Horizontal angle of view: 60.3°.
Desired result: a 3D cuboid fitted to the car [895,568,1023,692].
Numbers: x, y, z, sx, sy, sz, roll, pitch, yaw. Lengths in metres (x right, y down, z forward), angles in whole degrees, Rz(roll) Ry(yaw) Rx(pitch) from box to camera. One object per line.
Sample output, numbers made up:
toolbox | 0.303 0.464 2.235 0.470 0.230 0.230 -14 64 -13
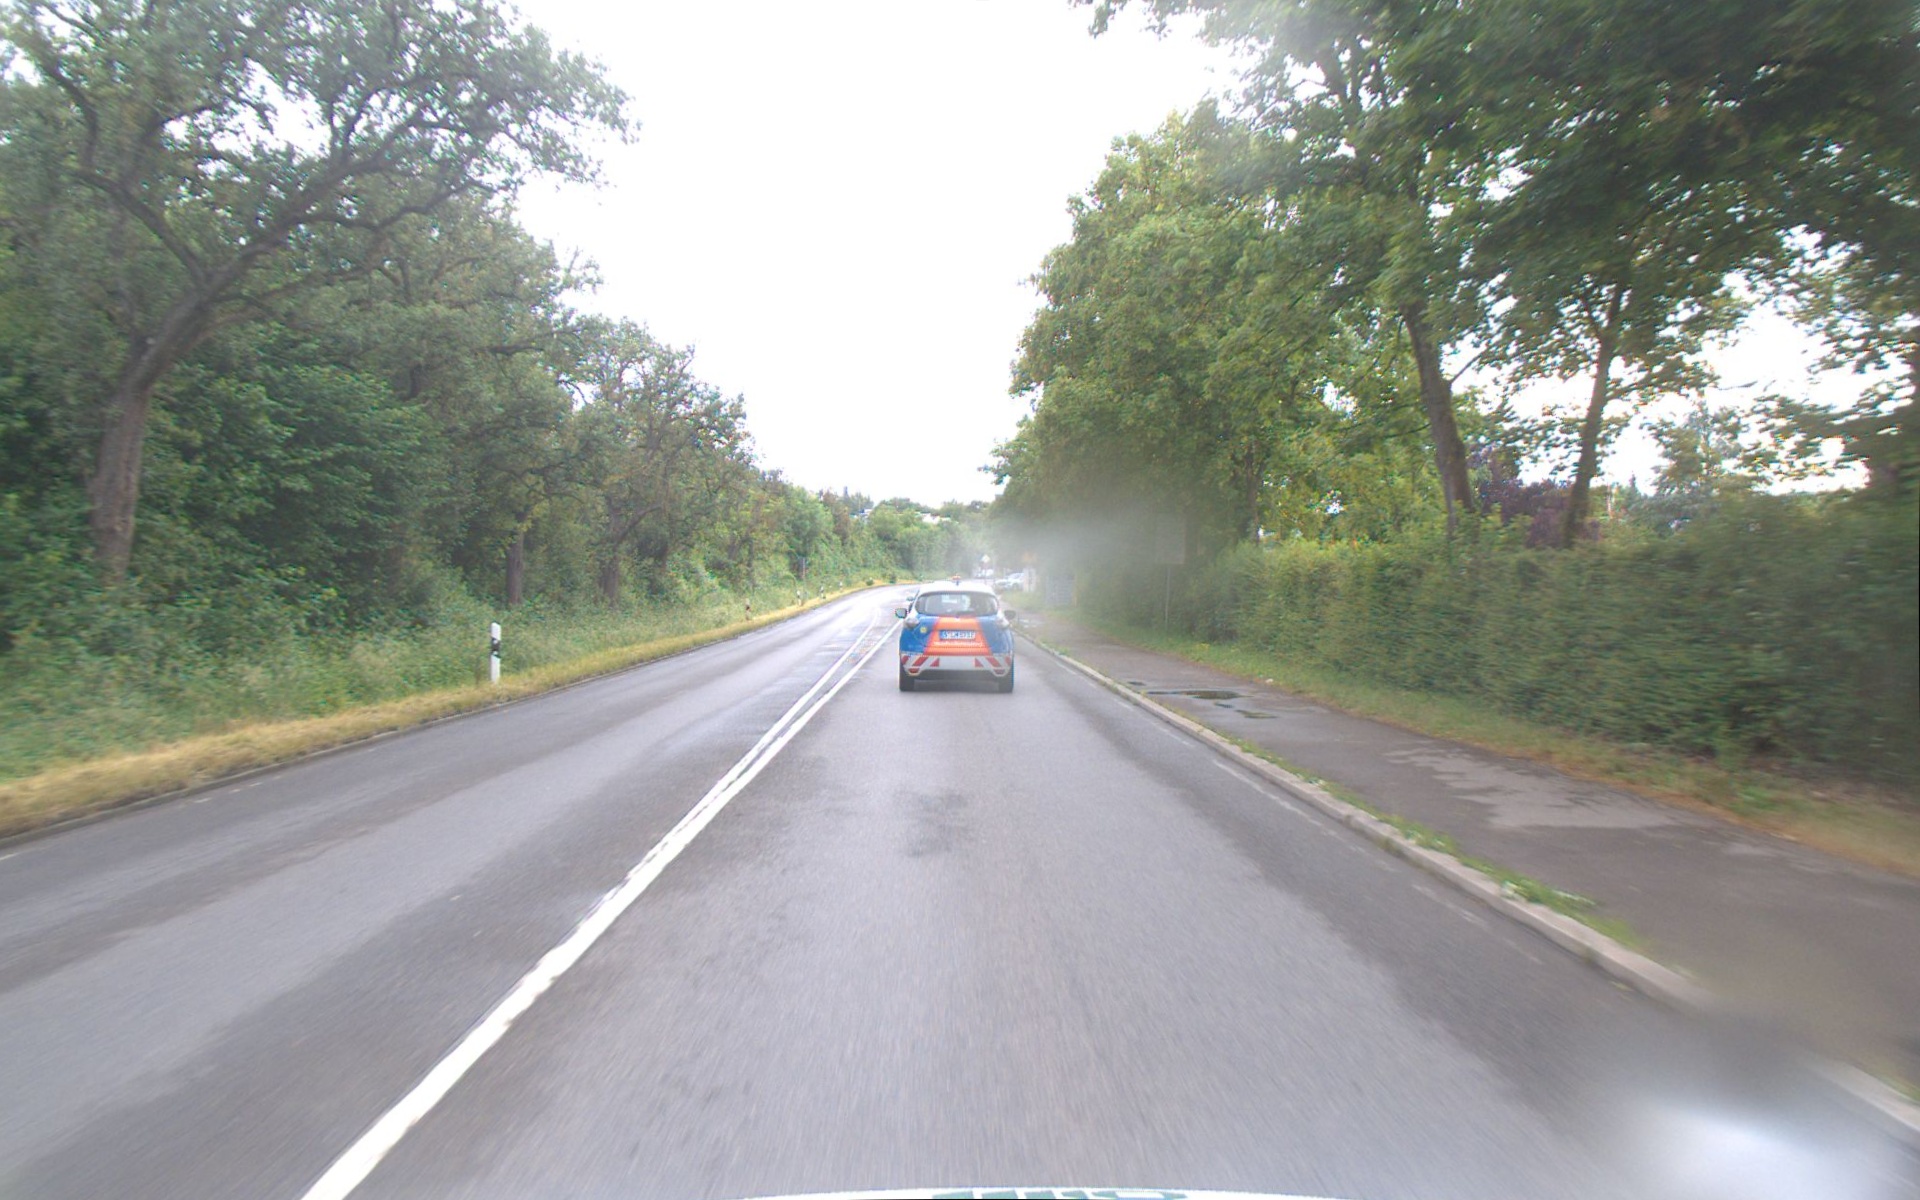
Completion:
car | -0.053 0.414 25.309 1.769 1.697 3.855 2 0 -1

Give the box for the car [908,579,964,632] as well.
car | -0.812 0.168 53.721 1.660 1.623 3.854 2 0 -2

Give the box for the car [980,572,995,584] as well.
car | 4.377 -3.410 260.777 1.658 1.822 3.859 2 0 11

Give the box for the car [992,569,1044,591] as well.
car | 5.186 -1.749 146.973 2.001 1.781 4.586 2 0 44
